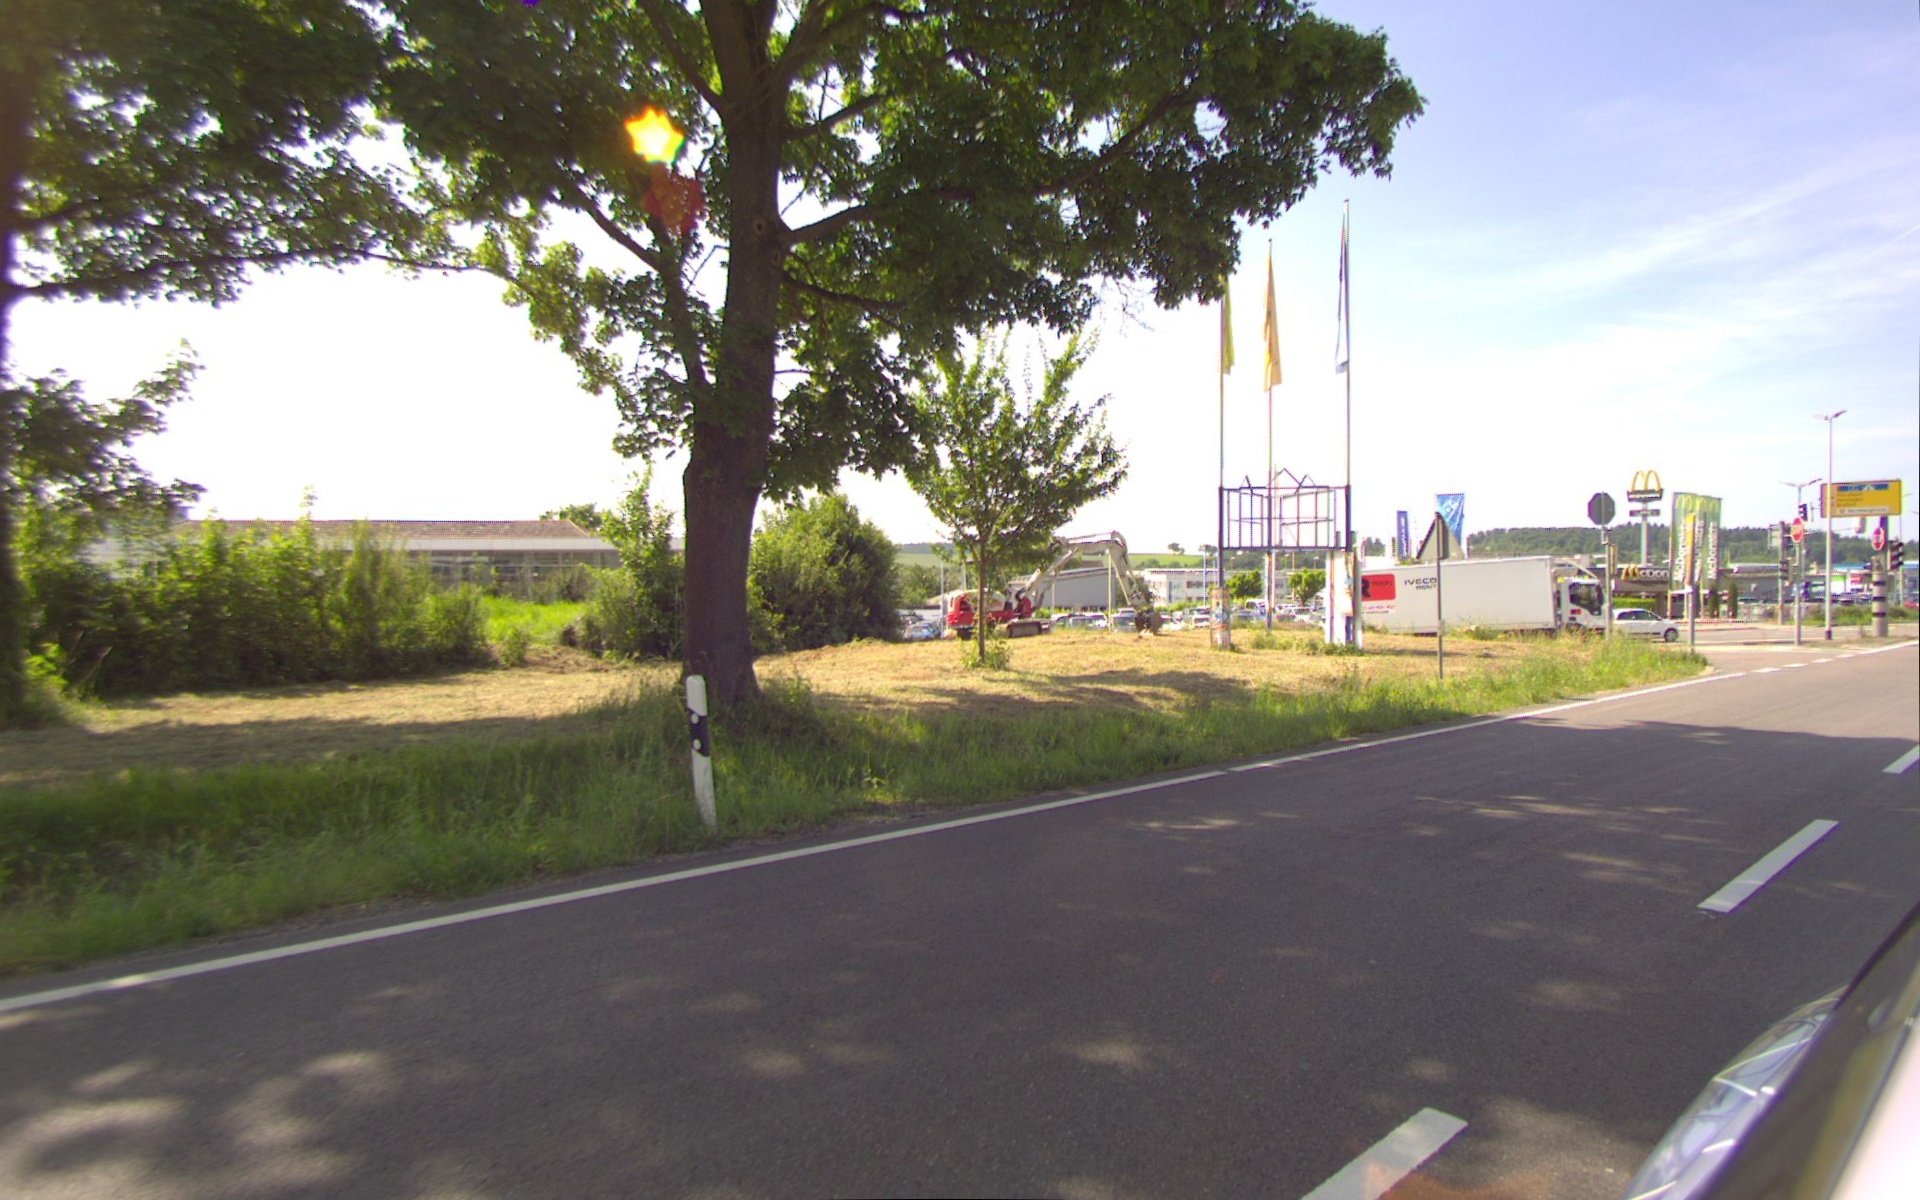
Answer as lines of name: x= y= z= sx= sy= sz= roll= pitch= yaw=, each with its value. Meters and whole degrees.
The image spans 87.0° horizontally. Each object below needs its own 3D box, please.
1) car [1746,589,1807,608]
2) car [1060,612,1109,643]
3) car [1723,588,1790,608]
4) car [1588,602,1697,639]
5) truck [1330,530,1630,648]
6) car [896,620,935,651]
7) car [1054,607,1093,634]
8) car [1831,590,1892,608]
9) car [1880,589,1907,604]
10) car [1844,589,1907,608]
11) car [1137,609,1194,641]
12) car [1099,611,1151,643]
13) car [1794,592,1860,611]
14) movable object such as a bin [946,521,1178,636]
car: x=73.877 y=-0.146 z=91.588 sx=4.088 sy=1.691 sz=1.777 roll=1 pitch=1 yaw=-2
car: x=7.320 y=1.606 z=59.908 sx=2.049 sy=1.638 sz=3.933 roll=1 pitch=2 yaw=-6
car: x=73.721 y=-0.211 z=93.729 sx=4.724 sy=1.691 sz=1.914 roll=1 pitch=1 yaw=-2
car: x=30.924 y=0.915 z=45.941 sx=3.684 sy=1.523 sz=1.711 roll=-2 pitch=0 yaw=0
truck: x=19.415 y=-0.276 z=38.265 sx=9.631 sy=3.675 sz=2.734 roll=-5 pitch=-2 yaw=34
car: x=-2.653 y=2.043 z=59.739 sx=1.959 sy=1.571 sz=4.006 roll=1 pitch=2 yaw=-7
car: x=7.803 y=1.423 z=69.872 sx=1.969 sy=1.638 sz=4.085 roll=1 pitch=2 yaw=-3
car: x=87.455 y=-0.111 z=98.232 sx=3.942 sy=1.691 sz=1.912 roll=1 pitch=1 yaw=15
car: x=107.512 y=-0.385 z=116.570 sx=4.630 sy=1.675 sz=1.905 roll=-1 pitch=2 yaw=-42
car: x=86.780 y=-0.132 z=95.947 sx=3.977 sy=1.691 sz=1.764 roll=1 pitch=1 yaw=22
car: x=12.147 y=1.471 z=60.193 sx=2.049 sy=1.638 sz=4.481 roll=1 pitch=2 yaw=-6
car: x=9.726 y=1.569 z=59.964 sx=2.049 sy=1.638 sz=4.041 roll=1 pitch=2 yaw=-6
car: x=74.413 y=0.119 z=86.885 sx=4.150 sy=1.596 sz=1.862 roll=1 pitch=1 yaw=-3
movable object such as a bin: x=2.956 y=-0.662 z=30.771 sx=6.573 sy=3.247 sz=2.904 roll=1 pitch=1 yaw=-3
